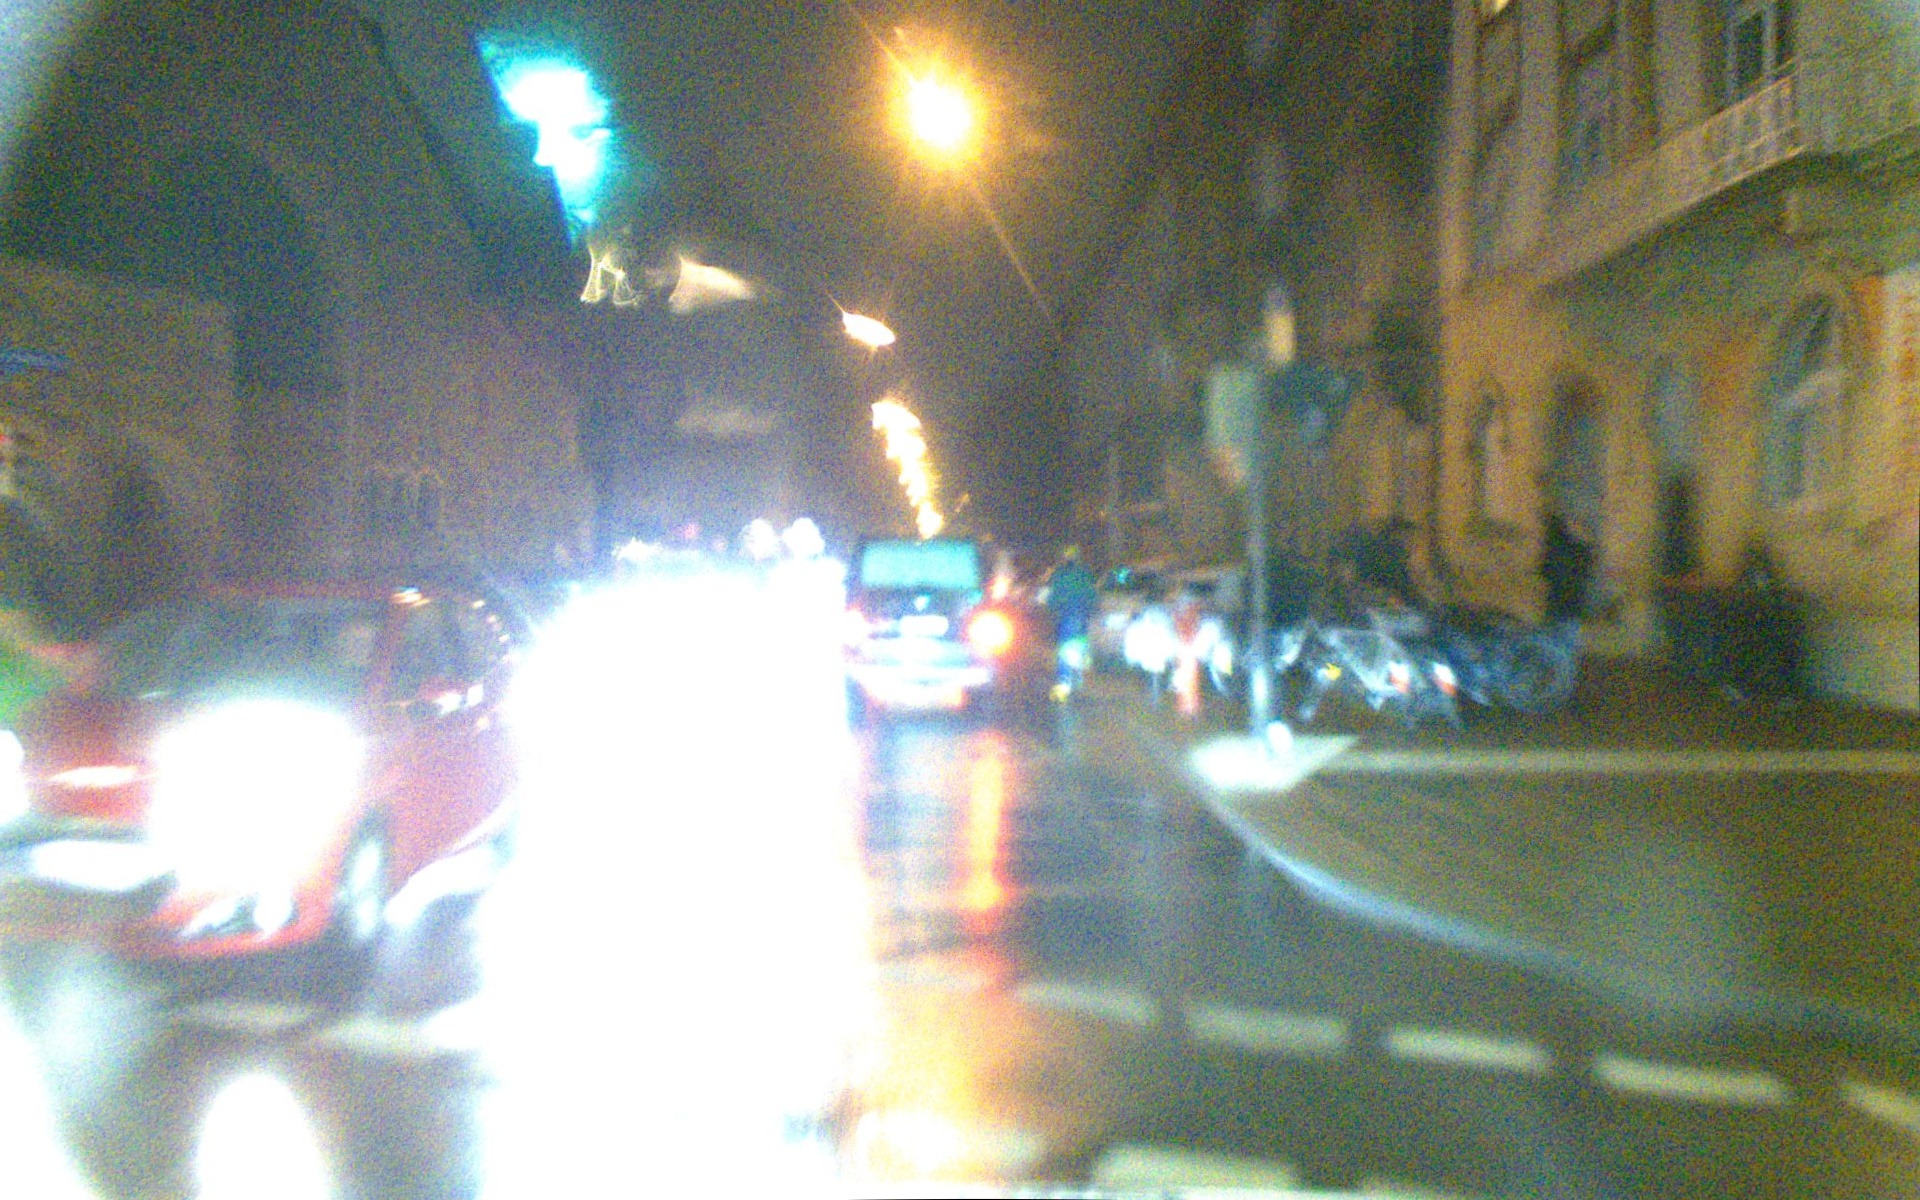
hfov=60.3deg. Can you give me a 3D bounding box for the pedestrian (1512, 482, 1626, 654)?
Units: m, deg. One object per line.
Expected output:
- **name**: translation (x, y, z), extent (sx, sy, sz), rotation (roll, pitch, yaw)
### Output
- **pedestrian**: translation (7.005, -0.378, 19.068), extent (0.938, 1.914, 1.000), rotation (-1, 2, 0)

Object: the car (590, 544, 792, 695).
- **car**: translation (-3.109, 0.141, 20.037), extent (1.751, 1.581, 4.854), rotation (-1, 2, -1)

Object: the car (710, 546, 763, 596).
- **car**: translation (-9.184, -1.213, 67.815), extent (1.696, 2.006, 3.713), rotation (-1, 2, -15)

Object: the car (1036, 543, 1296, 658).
- **car**: translation (3.427, -0.037, 27.215), extent (4.137, 1.617, 1.710), rotation (-4, 3, -35)

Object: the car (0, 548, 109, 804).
- **car**: translation (-6.576, 0.481, 8.908), extent (1.726, 1.512, 4.062), rotation (-1, 2, 2)

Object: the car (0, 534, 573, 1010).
- **car**: translation (-3.054, 0.525, 7.551), extent (1.634, 1.589, 4.008), rotation (-1, 2, 0)

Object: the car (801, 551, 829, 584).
- **car**: translation (-9.049, -2.034, 103.519), extent (1.690, 2.006, 4.218), rotation (0, 2, -4)

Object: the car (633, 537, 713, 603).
- **car**: translation (-9.303, -0.996, 53.458), extent (1.960, 2.006, 4.280), rotation (-1, 2, -18)

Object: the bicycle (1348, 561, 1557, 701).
- **bicycle**: translation (4.864, 0.292, 16.379), extent (1.860, 1.273, 0.595), rotation (-3, 1, -6)

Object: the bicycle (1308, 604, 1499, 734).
- **bicycle**: translation (4.772, 0.731, 17.820), extent (1.860, 1.273, 0.595), rotation (-3, 1, -6)

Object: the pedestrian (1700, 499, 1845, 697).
- **pedestrian**: translation (7.049, -0.032, 14.387), extent (0.765, 1.646, 1.000), rotation (-1, 2, 0)

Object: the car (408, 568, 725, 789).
- **car**: translation (-2.952, 0.491, 13.261), extent (1.635, 1.445, 4.097), rotation (-1, 2, -1)

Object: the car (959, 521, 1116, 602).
- **car**: translation (2.584, -1.290, 54.396), extent (4.962, 2.432, 2.109), rotation (-4, 3, -39)

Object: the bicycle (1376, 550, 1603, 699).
- **bicycle**: translation (4.943, 0.213, 15.485), extent (1.860, 1.273, 0.710), rotation (-3, 1, -6)

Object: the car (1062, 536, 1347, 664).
- **car**: translation (3.669, -0.059, 24.455), extent (4.145, 1.604, 1.856), rotation (-4, 3, -39)

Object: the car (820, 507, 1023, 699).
- **car**: translation (-0.435, -0.029, 19.788), extent (2.124, 2.006, 4.302), rotation (-1, 2, -1)

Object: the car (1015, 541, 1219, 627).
- **car**: translation (3.453, -0.390, 36.468), extent (4.114, 1.673, 1.759), rotation (-3, 2, -22)

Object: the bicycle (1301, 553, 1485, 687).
- **bicycle**: translation (4.826, 0.210, 18.486), extent (1.860, 1.383, 0.595), rotation (-3, 1, -6)

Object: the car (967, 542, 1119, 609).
- **car**: translation (2.359, -0.715, 46.470), extent (4.146, 1.673, 1.745), rotation (-4, 3, -39)

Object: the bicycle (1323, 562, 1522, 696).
- **bicycle**: translation (4.780, 0.285, 17.138), extent (1.860, 1.273, 0.595), rotation (-3, 1, -6)

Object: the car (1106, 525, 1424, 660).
- **car**: translation (4.045, -0.159, 21.611), extent (4.145, 1.482, 1.831), rotation (-4, 3, -39)
